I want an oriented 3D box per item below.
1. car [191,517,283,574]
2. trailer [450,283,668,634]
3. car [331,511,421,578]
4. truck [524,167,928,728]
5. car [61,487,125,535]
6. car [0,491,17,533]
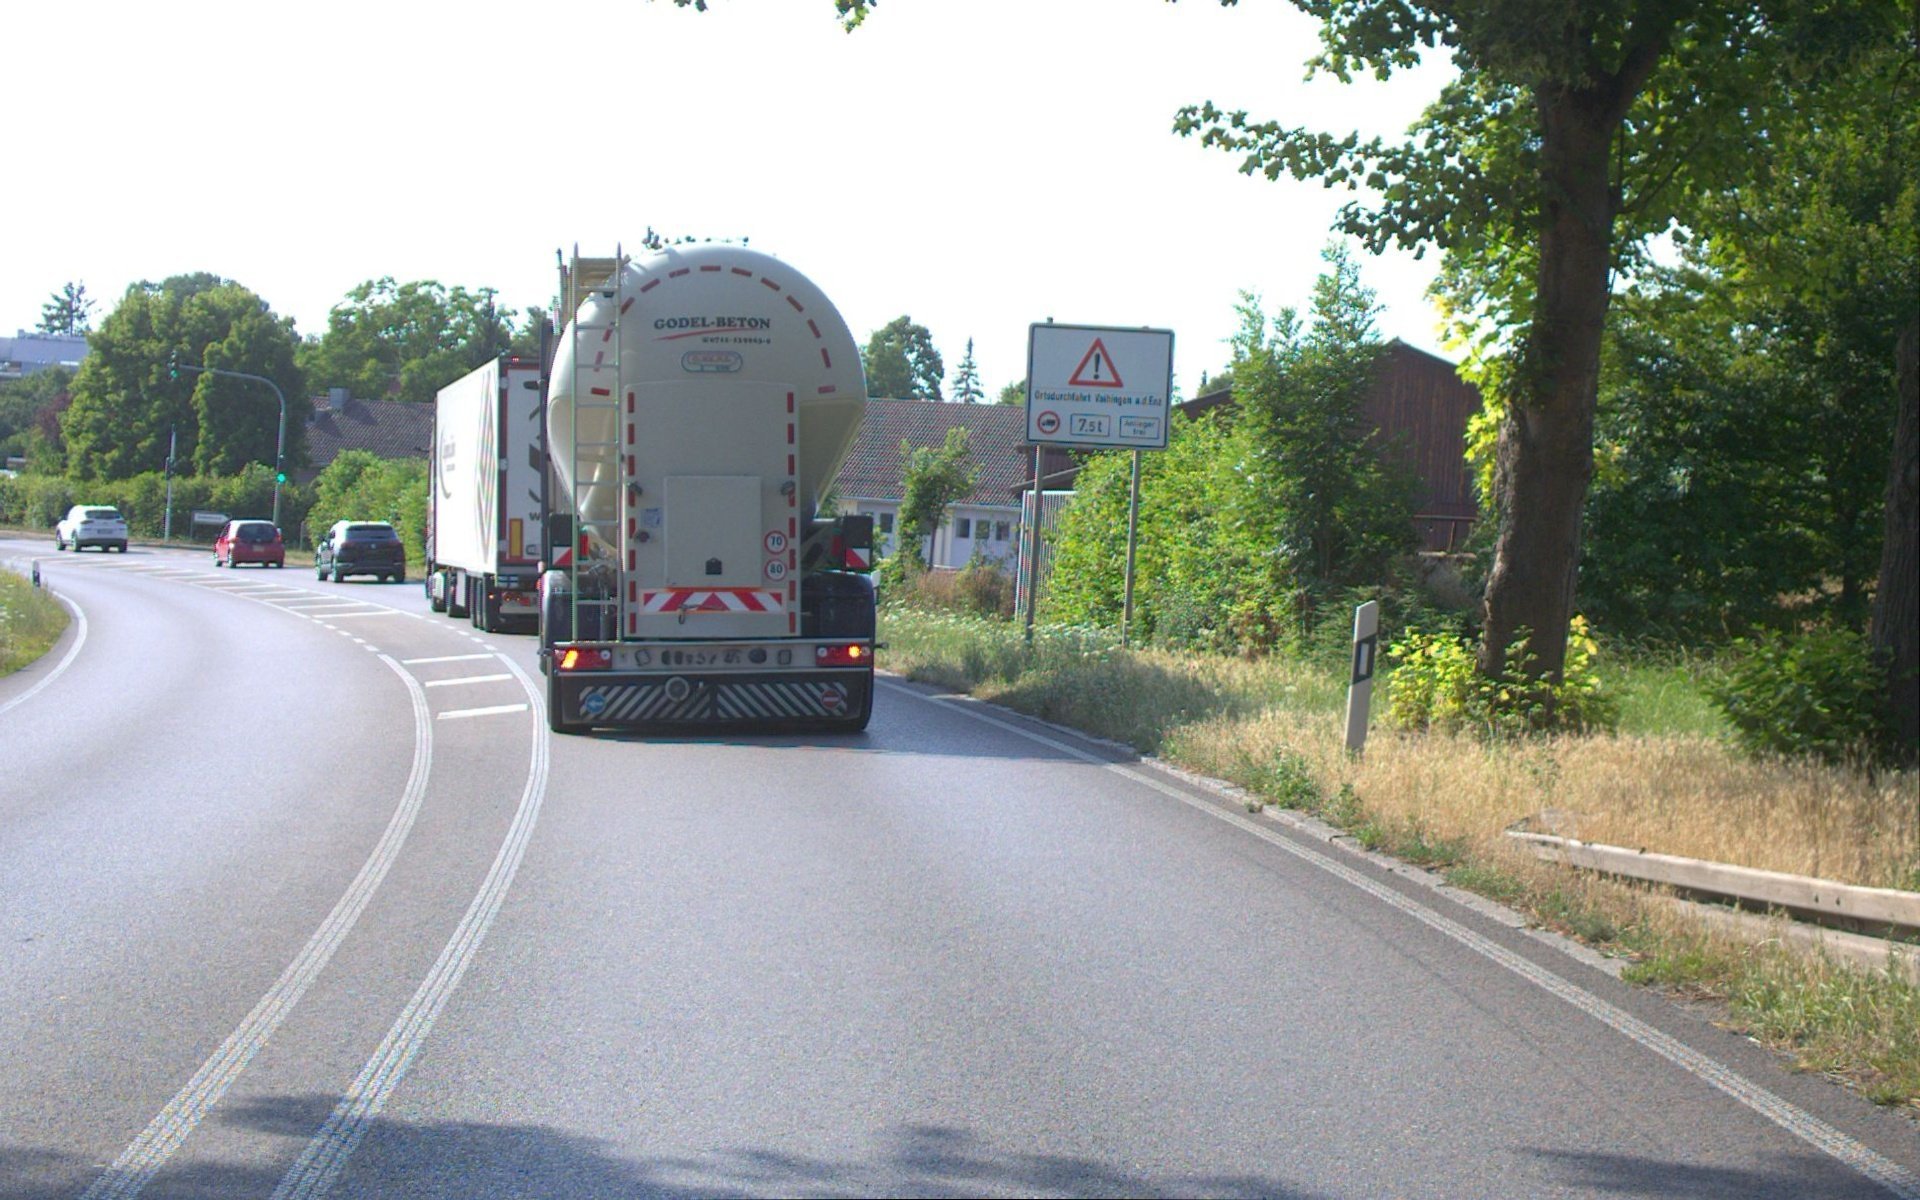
[{"bbox_3d":[-21.961,-1.653,104.295,2.299,1.650,4.416,1,0,-17],"label":"car"},{"bbox_3d":[-6.303,-2.029,53.363,2.963,4.865,10.290,1,0,-8],"label":"trailer"},{"bbox_3d":[-14.849,-1.400,87.283,1.993,1.650,4.001,1,0,-13],"label":"car"},{"bbox_3d":[-2.475,-1.191,31.654,2.975,4.161,11.665,1,0,-7],"label":"truck"},{"bbox_3d":[-31.442,-3.218,124.613,1.840,1.650,4.001,1,0,-20],"label":"car"},{"bbox_3d":[-39.375,-3.579,139.536,1.519,1.650,3.873,1,0,-24],"label":"car"}]
